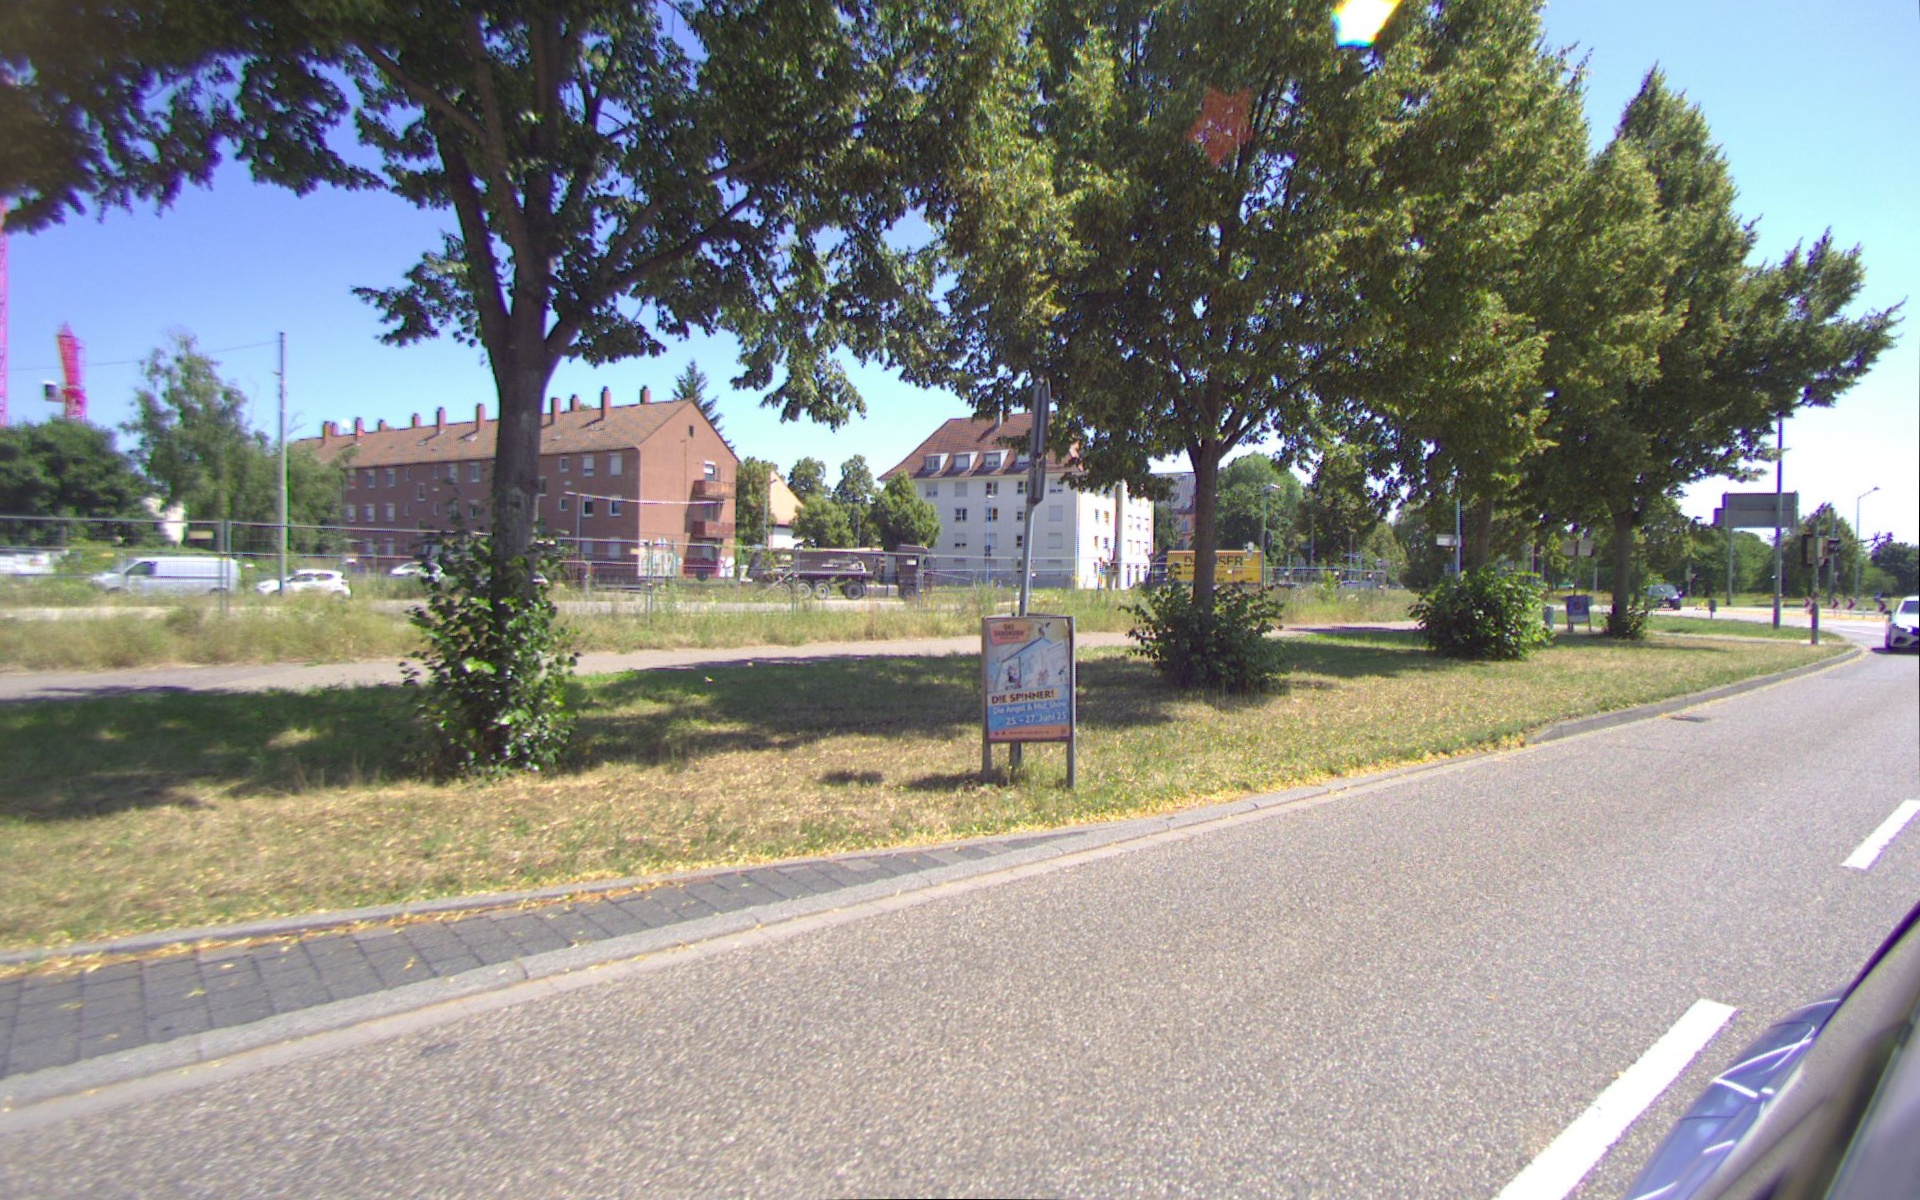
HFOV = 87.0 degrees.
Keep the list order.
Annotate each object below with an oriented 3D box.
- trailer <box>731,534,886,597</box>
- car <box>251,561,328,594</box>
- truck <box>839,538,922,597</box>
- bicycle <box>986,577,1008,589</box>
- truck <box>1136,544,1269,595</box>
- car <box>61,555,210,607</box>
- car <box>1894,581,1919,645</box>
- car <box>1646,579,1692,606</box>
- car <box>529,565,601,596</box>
[{"bbox_3d":[-9.093,-2.000,61.283,8.822,3.576,3.165,0,1,-35],"label":"trailer"},{"bbox_3d":[-30.432,-1.017,45.942,2.742,1.423,1.417,1,3,-41],"label":"car"},{"bbox_3d":[-5.039,-2.027,63.545,4.861,3.577,3.171,1,1,-11],"label":"truck"},{"bbox_3d":[3.431,-1.591,93.508,1.974,1.036,0.701,3,4,37],"label":"bicycle"},{"bbox_3d":[18.461,-2.374,77.155,9.506,3.704,2.687,1,1,23],"label":"truck"},{"bbox_3d":[-34.274,-0.780,42.192,1.777,2.039,4.613,2,2,41],"label":"car"},{"bbox_3d":[25.216,0.388,25.740,3.894,1.565,1.778,2,0,-42],"label":"car"},{"bbox_3d":[41.244,-0.463,58.949,1.965,1.436,3.955,1,2,32],"label":"car"},{"bbox_3d":[-21.062,-1.029,54.021,3.359,1.633,1.368,0,1,-41],"label":"car"}]
